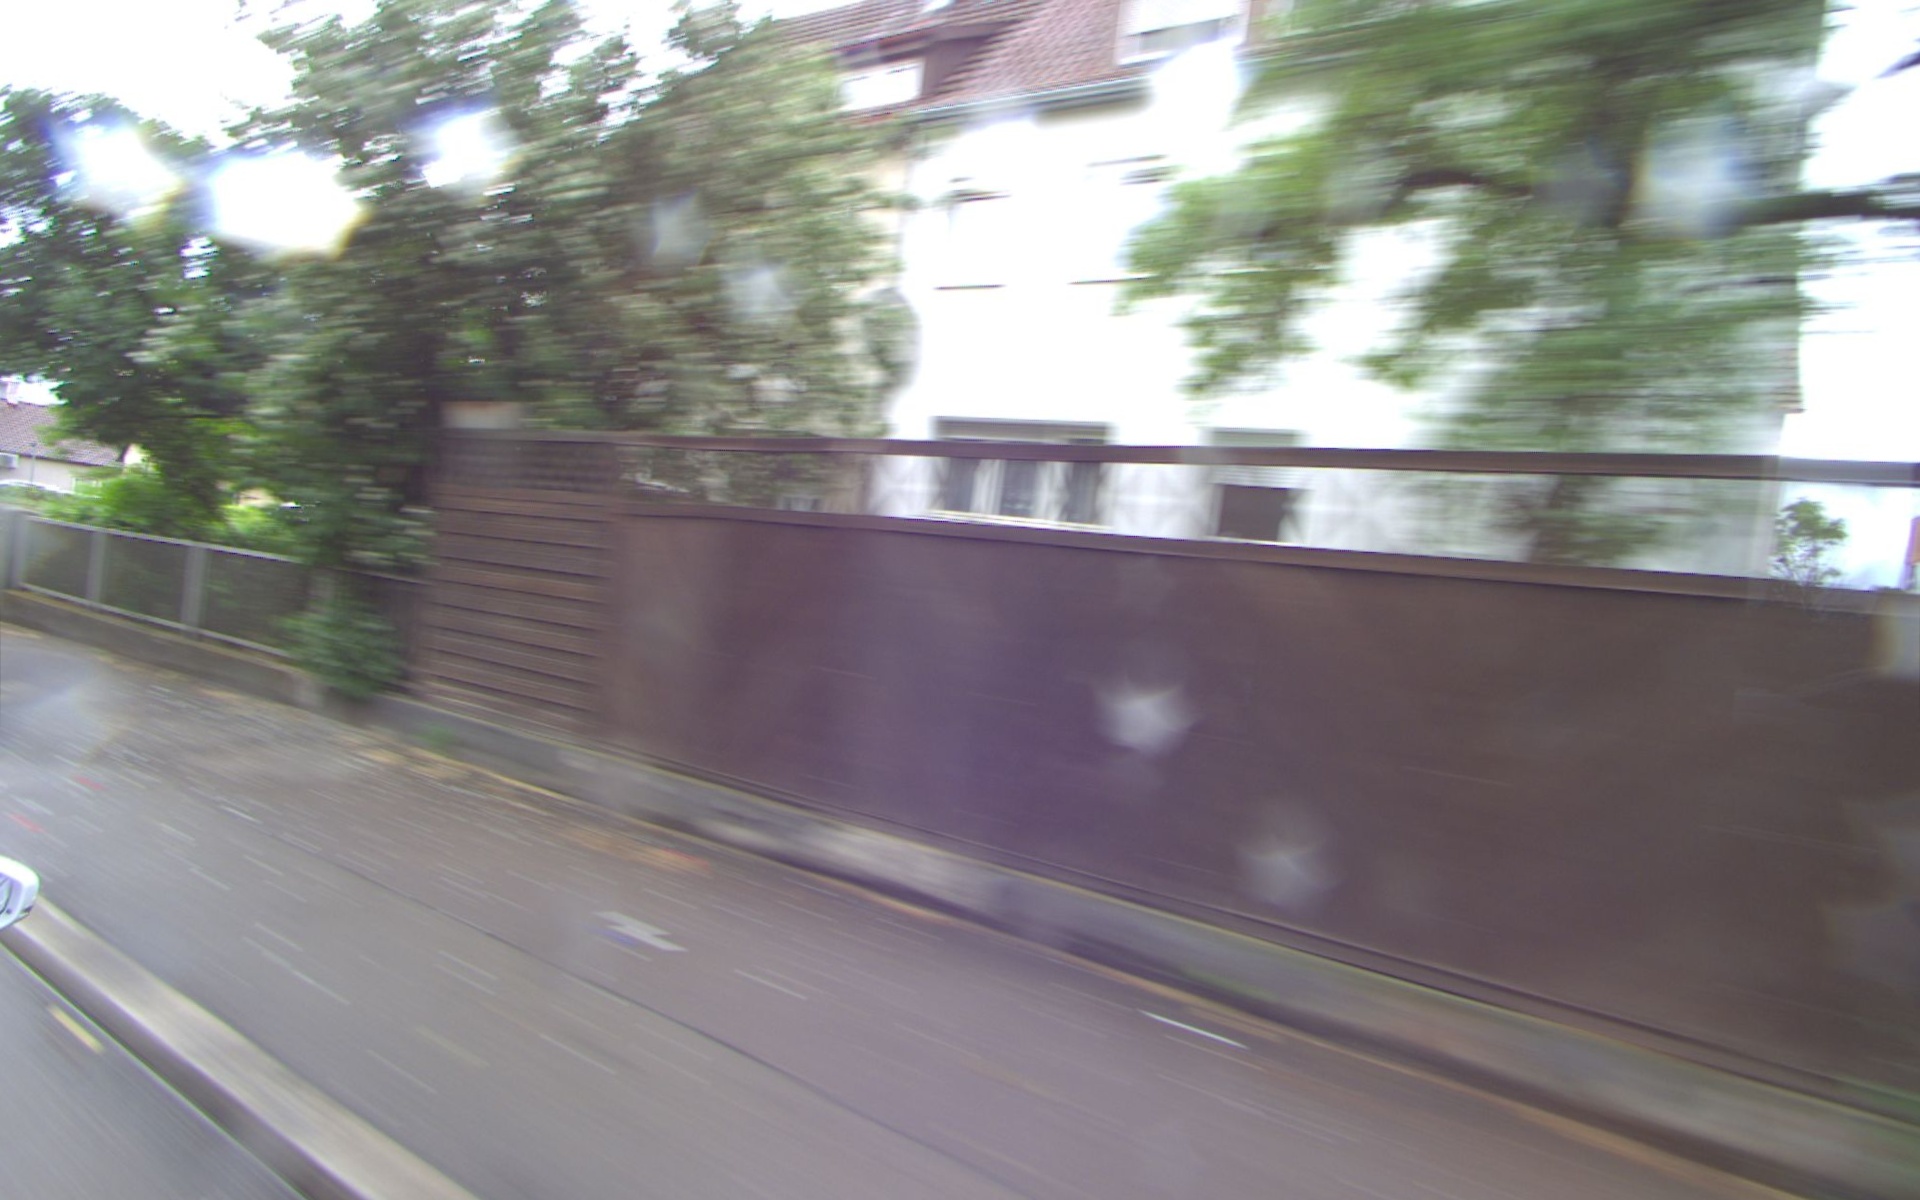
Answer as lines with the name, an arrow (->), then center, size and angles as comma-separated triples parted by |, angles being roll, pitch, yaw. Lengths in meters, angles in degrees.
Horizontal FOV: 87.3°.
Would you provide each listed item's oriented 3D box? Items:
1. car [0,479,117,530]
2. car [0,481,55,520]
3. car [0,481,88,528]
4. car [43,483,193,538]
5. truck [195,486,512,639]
car -> -41.050, -4.318, 45.650 | 1.728, 1.550, 3.774 | 7, -2, 28
car -> -48.336, -5.155, 50.596 | 3.974, 1.611, 1.801 | 9, -3, -41
car -> -43.420, -4.529, 46.605 | 1.764, 1.618, 4.094 | 6, -2, 30
car -> -36.126, -3.794, 43.287 | 1.839, 1.647, 4.508 | 7, 0, 31
truck -> -13.819, -0.721, 23.447 | 2.010, 2.667, 5.857 | 6, -2, 31
